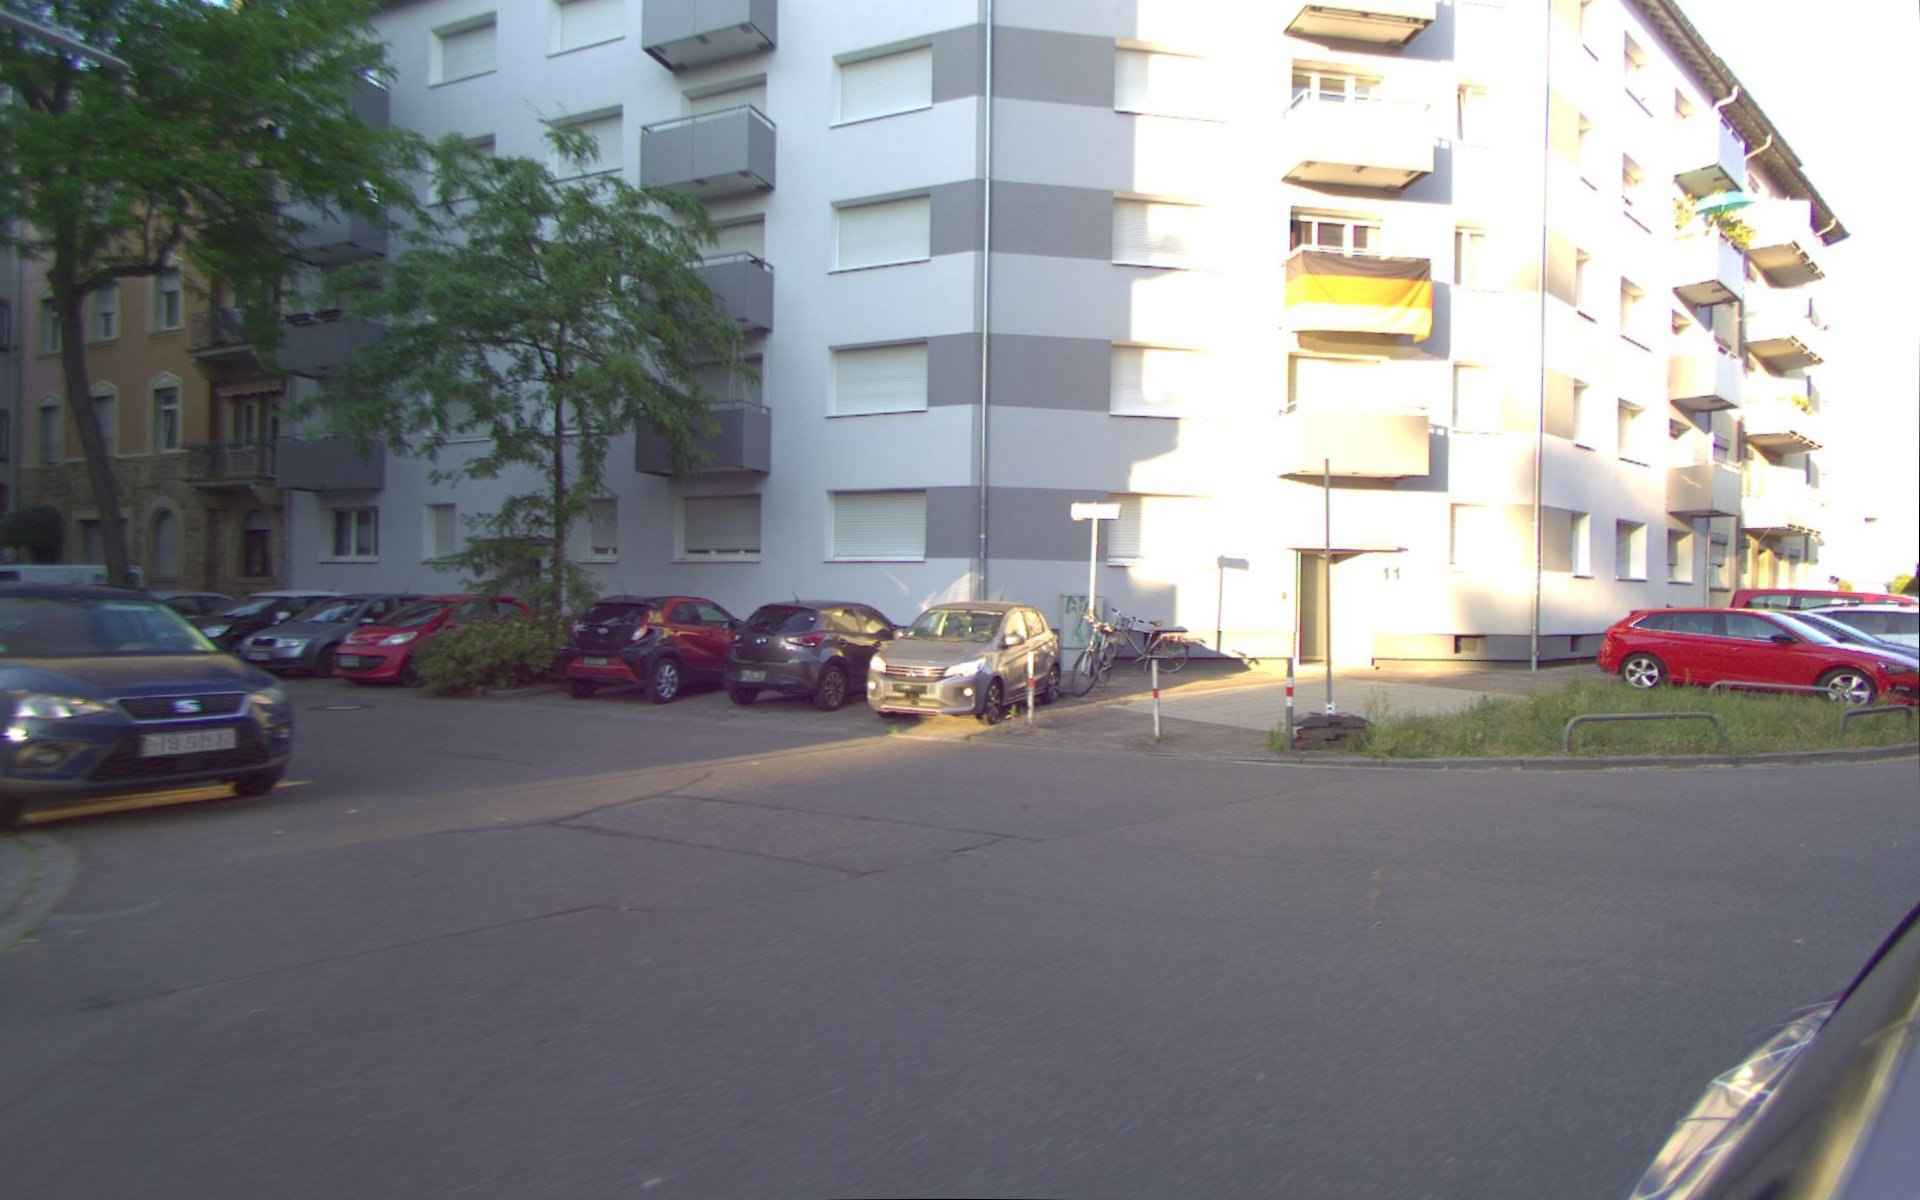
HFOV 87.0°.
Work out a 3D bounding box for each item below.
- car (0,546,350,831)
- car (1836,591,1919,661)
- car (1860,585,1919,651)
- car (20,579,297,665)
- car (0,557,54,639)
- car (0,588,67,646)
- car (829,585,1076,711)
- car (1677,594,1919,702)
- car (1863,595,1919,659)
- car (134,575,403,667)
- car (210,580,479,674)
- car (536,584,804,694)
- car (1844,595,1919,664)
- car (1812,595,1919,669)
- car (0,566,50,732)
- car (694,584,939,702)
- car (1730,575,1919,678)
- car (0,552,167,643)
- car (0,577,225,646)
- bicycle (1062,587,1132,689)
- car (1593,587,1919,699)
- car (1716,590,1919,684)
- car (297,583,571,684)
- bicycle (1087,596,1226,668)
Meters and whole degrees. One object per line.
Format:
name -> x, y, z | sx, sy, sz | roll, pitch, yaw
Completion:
car -> -6.551, 0.465, 7.423 | 3.963, 1.593, 1.812 | 1, 0, 28
car -> 26.762, 0.710, 27.641 | 1.964, 1.861, 3.997 | 1, 0, -38
car -> 30.118, 0.559, 30.295 | 1.963, 1.993, 4.430 | 1, 0, -36
car -> -16.109, 0.376, 20.584 | 1.978, 1.549, 3.968 | 1, 1, 24
car -> -26.876, -0.059, 26.063 | 1.977, 2.167, 4.941 | 1, 0, 22
car -> -24.810, 0.415, 24.728 | 1.977, 1.415, 4.075 | 1, 1, 22
car -> 0.069, 0.547, 13.988 | 1.978, 1.438, 3.967 | 1, 0, 24
car -> 15.193, 0.764, 17.711 | 1.965, 1.683, 3.994 | 0, 0, -41
car -> 28.509, 0.793, 28.742 | 1.964, 1.816, 3.997 | 1, 0, -38
car -> -13.452, 0.349, 19.965 | 1.977, 1.605, 3.970 | 1, 1, 22
car -> -11.421, 0.427, 19.091 | 1.977, 1.549, 3.970 | 1, 1, 22
car -> -4.382, 0.513, 15.933 | 1.979, 1.482, 3.966 | 1, 1, 25
car -> 25.310, 0.766, 25.686 | 1.962, 1.705, 3.999 | 1, 0, -36
car -> 23.225, 0.769, 24.242 | 1.963, 1.705, 3.998 | 1, 0, -38
car -> -10.875, 0.423, 9.506 | 3.953, 1.524, 1.956 | 1, 0, 22
car -> -1.999, 0.540, 15.276 | 1.827, 1.505, 3.966 | 1, 1, 24
car -> 19.213, 0.523, 21.098 | 1.964, 2.025, 4.685 | 1, 0, -38
car -> -22.169, -0.068, 23.970 | 2.163, 2.039, 4.957 | 1, 1, 20
car -> -19.591, 0.216, 23.247 | 1.981, 1.415, 3.962 | 1, 1, 27
bicycle -> 2.100, 0.524, 15.239 | 0.510, 1.401, 2.487 | 0, 0, 21
car -> 13.068, 0.588, 16.467 | 1.888, 1.560, 4.312 | 1, 0, -38
car -> 17.036, 0.650, 19.245 | 1.754, 1.649, 3.993 | 1, 0, -41
car -> -9.107, 0.500, 17.891 | 1.977, 1.535, 3.969 | 1, 1, 23
bicycle -> 3.590, 0.577, 18.552 | 2.403, 1.289, 0.699 | 0, 0, -9
